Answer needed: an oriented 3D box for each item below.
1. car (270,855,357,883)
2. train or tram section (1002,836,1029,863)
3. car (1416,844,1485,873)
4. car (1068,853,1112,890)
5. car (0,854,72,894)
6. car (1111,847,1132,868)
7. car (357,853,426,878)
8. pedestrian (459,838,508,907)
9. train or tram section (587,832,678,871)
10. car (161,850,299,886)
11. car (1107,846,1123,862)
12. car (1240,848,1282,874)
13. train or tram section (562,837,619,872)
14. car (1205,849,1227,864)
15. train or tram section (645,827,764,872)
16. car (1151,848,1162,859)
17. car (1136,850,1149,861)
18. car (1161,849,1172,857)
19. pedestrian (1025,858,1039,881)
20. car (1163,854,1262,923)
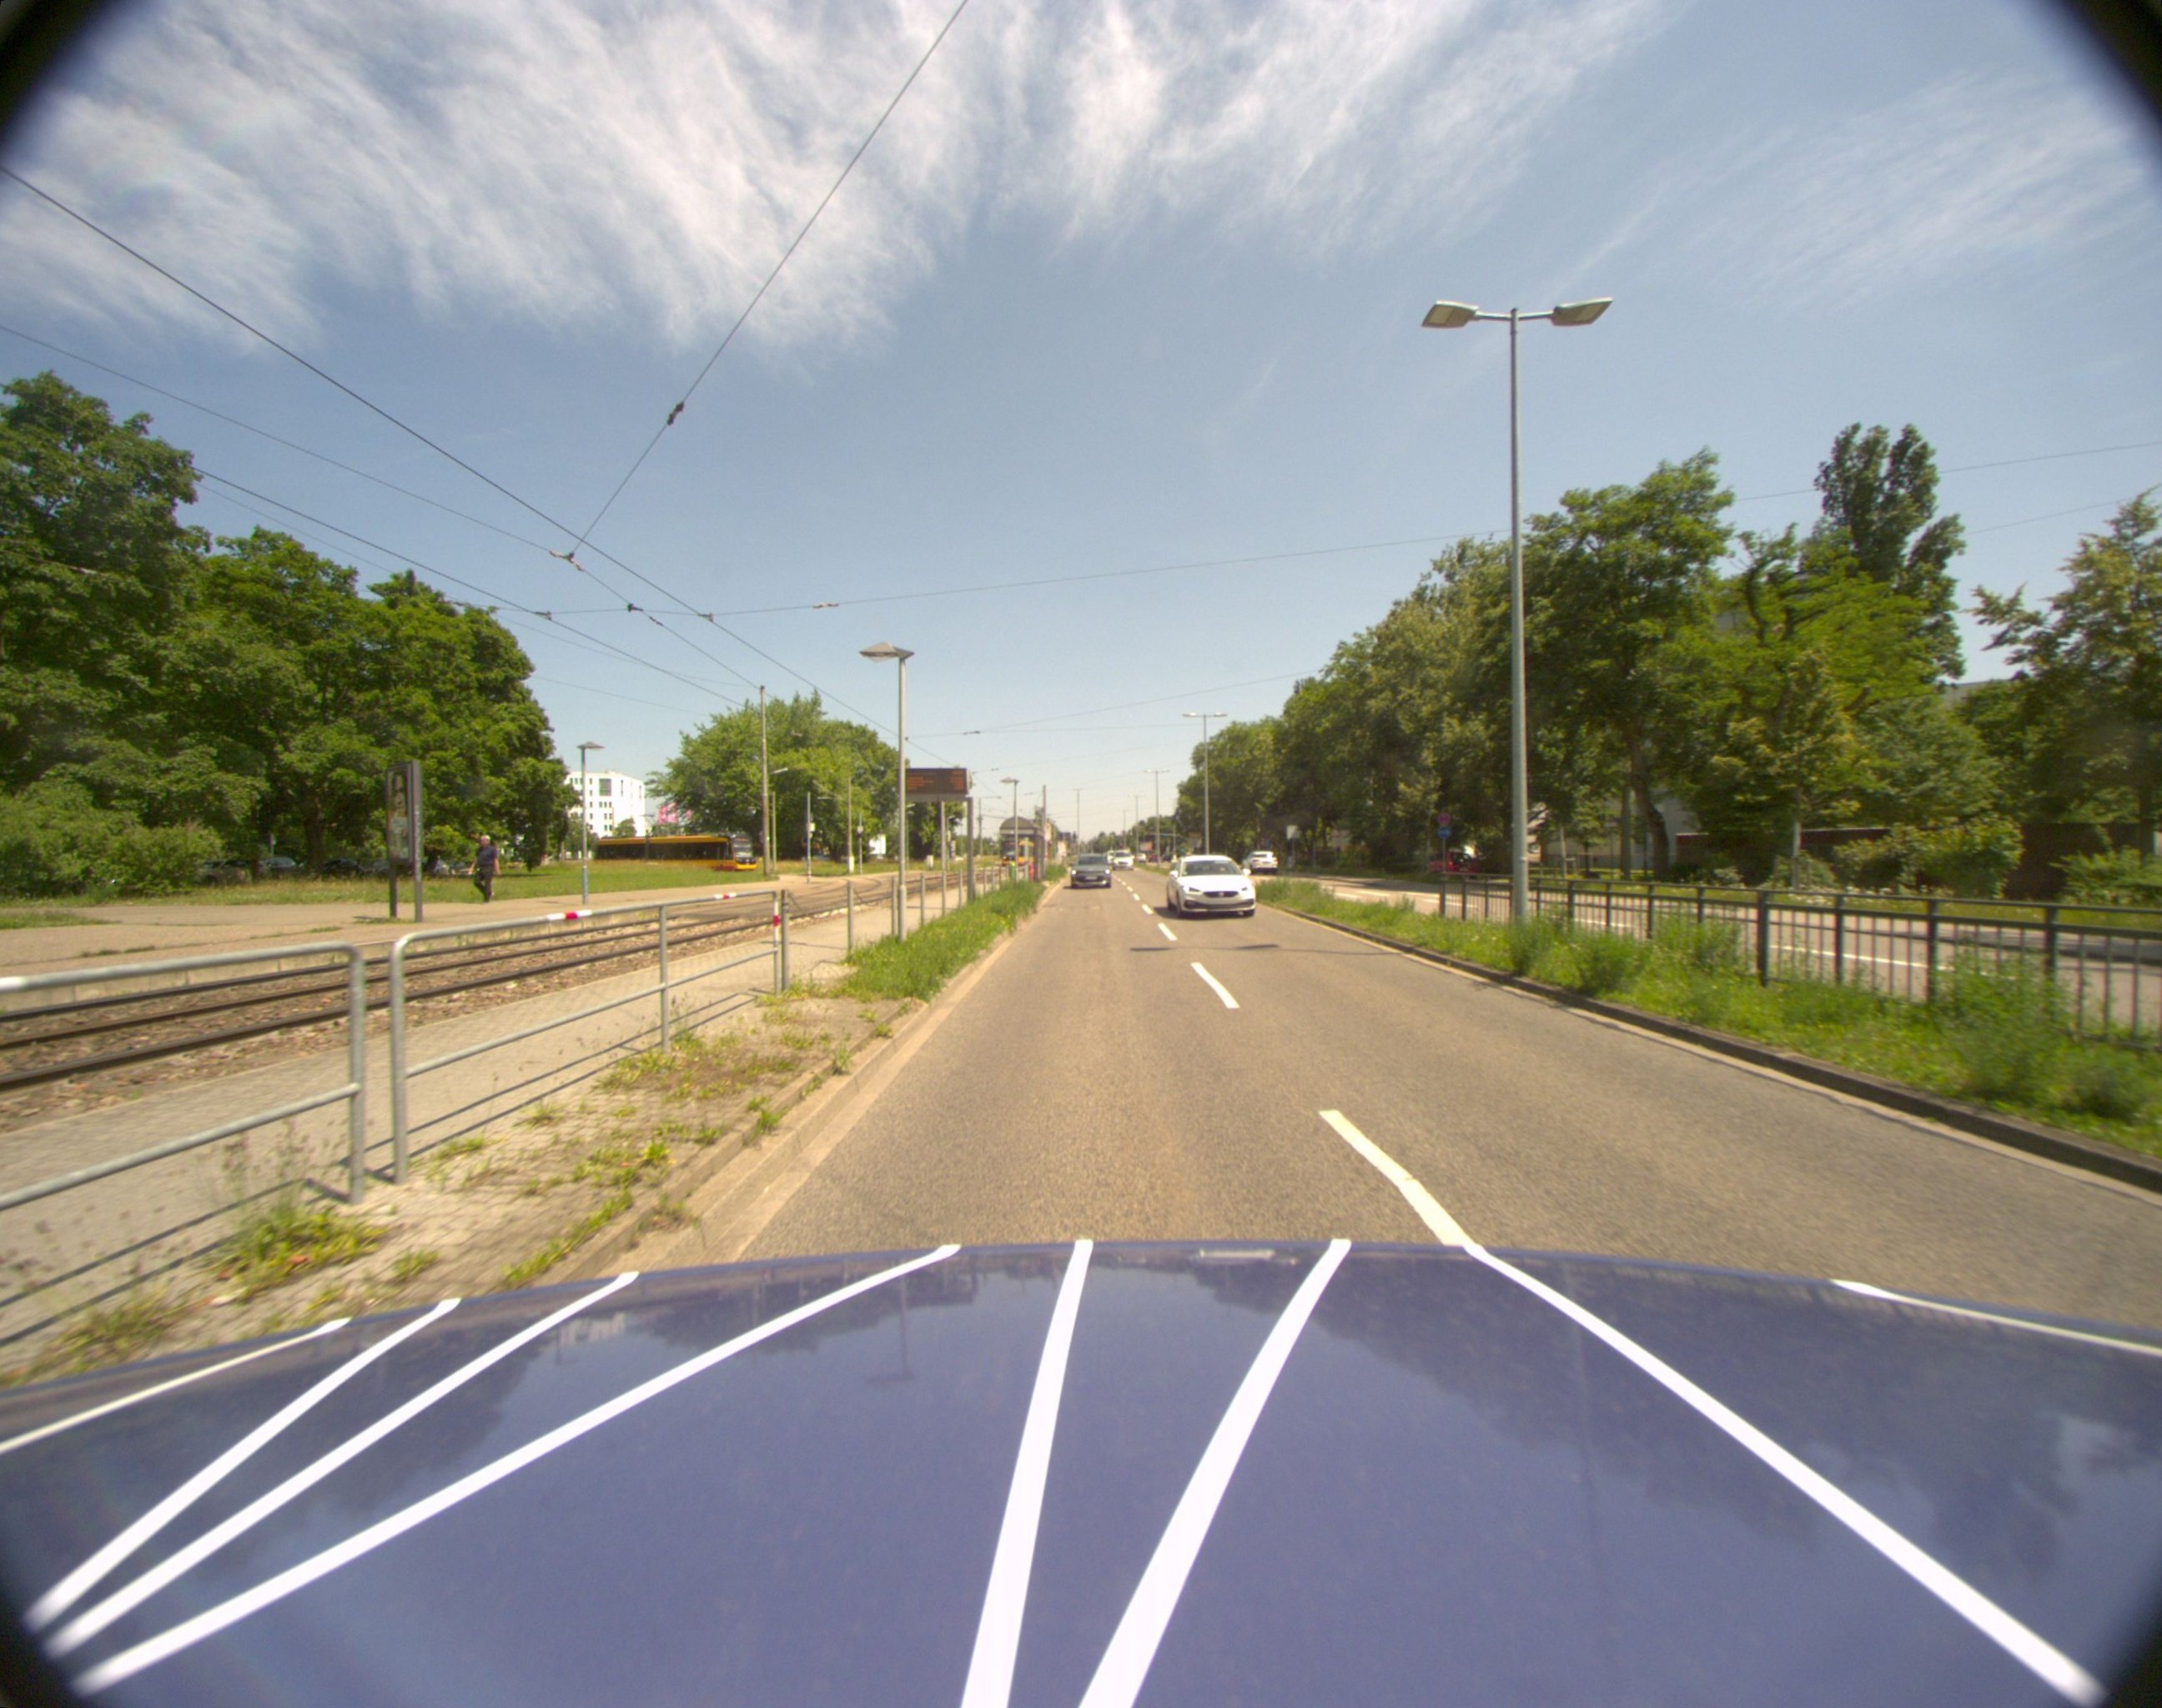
[{"bbox_3d":[-42.979,0.794,42.653,1.960,1.414,3.937,0,1,-21],"label":"car"},{"bbox_3d":[-8.386,-0.610,97.700,2.524,3.304,7.259,0,1,2],"label":"train or tram section"},{"bbox_3d":[20.670,0.234,42.727,1.998,1.576,4.000,0,0,1],"label":"car"},{"bbox_3d":[0.468,0.722,33.759,1.787,1.554,4.136,0,0,3],"label":"car"},{"bbox_3d":[-47.110,0.856,33.041,1.855,1.652,3.994,0,0,-17],"label":"car"},{"bbox_3d":[3.889,0.301,72.683,1.998,2.002,4.000,0,1,3],"label":"car"},{"bbox_3d":[-44.716,0.723,49.394,1.707,1.530,4.606,0,1,-21],"label":"car"},{"bbox_3d":[-15.493,0.470,19.708,0.707,1.754,0.657,0,1,3],"label":"pedestrian"},{"bbox_3d":[-44.817,-0.194,75.601,13.214,3.629,2.720,-1,2,37],"label":"train or tram section"},{"bbox_3d":[-41.329,0.630,37.131,2.126,1.602,5.048,0,0,-16],"label":"car"},{"bbox_3d":[4.291,-0.041,96.482,1.921,2.002,4.000,0,1,1],"label":"car"},{"bbox_3d":[12.922,0.478,54.791,1.864,1.748,4.479,1,0,0],"label":"car"},{"bbox_3d":[-54.357,-0.003,84.009,2.721,3.553,13.212,-1,1,-44],"label":"train or tram section"},{"bbox_3d":[15.003,0.266,84.703,1.772,1.545,4.083,0,0,0],"label":"car"},{"bbox_3d":[-34.080,-0.339,68.409,13.150,3.629,2.720,-1,2,31],"label":"train or tram section"},{"bbox_3d":[13.420,-0.150,135.094,1.998,2.002,4.001,0,1,5],"label":"car"},{"bbox_3d":[9.924,0.168,122.970,1.816,1.631,3.999,-2,1,1],"label":"car"},{"bbox_3d":[16.600,-0.148,147.734,1.744,1.499,4.635,0,1,2],"label":"car"},{"bbox_3d":[-2.246,0.699,35.084,0.577,1.034,0.579,0,1,1],"label":"pedestrian"},{"bbox_3d":[3.151,0.774,19.034,1.772,1.460,4.111,-2,1,1],"label":"car"}]
